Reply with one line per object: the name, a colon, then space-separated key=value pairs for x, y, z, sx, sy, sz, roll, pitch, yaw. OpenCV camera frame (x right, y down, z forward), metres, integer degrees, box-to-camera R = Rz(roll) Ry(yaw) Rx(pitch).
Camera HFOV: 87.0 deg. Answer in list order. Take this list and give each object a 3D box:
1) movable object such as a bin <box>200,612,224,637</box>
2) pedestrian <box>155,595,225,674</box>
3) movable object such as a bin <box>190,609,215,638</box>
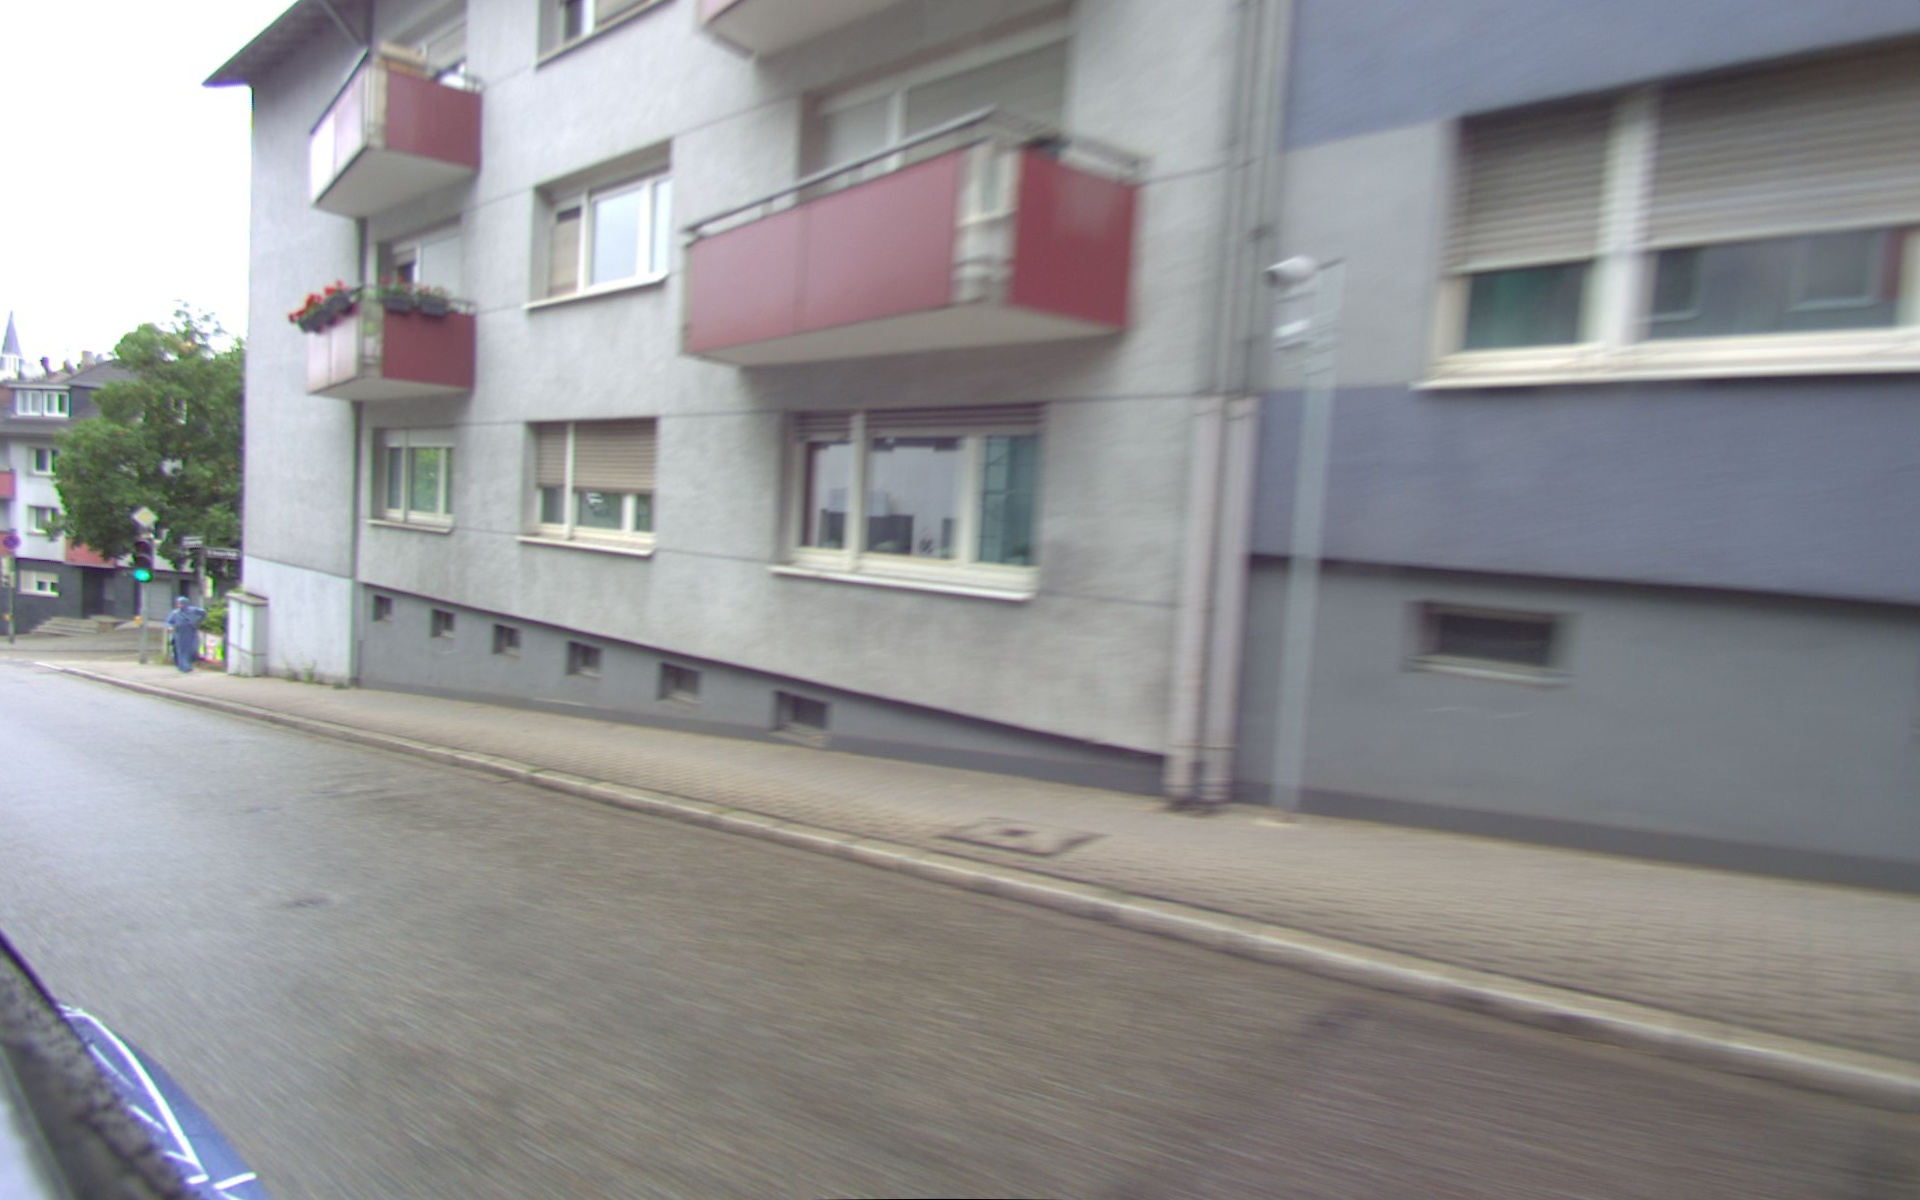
movable object such as a bin: x=-31.677 y=1.028 z=42.860 sx=0.496 sy=1.023 sz=0.627 roll=1 pitch=2 yaw=15
pedestrian: x=-15.957 y=0.710 z=20.976 sx=1.086 sy=1.553 sz=0.861 roll=-4 pitch=-1 yaw=38
movable object such as a bin: x=-32.263 y=0.997 z=43.109 sx=0.682 sy=1.208 sz=0.559 roll=1 pitch=2 yaw=14
